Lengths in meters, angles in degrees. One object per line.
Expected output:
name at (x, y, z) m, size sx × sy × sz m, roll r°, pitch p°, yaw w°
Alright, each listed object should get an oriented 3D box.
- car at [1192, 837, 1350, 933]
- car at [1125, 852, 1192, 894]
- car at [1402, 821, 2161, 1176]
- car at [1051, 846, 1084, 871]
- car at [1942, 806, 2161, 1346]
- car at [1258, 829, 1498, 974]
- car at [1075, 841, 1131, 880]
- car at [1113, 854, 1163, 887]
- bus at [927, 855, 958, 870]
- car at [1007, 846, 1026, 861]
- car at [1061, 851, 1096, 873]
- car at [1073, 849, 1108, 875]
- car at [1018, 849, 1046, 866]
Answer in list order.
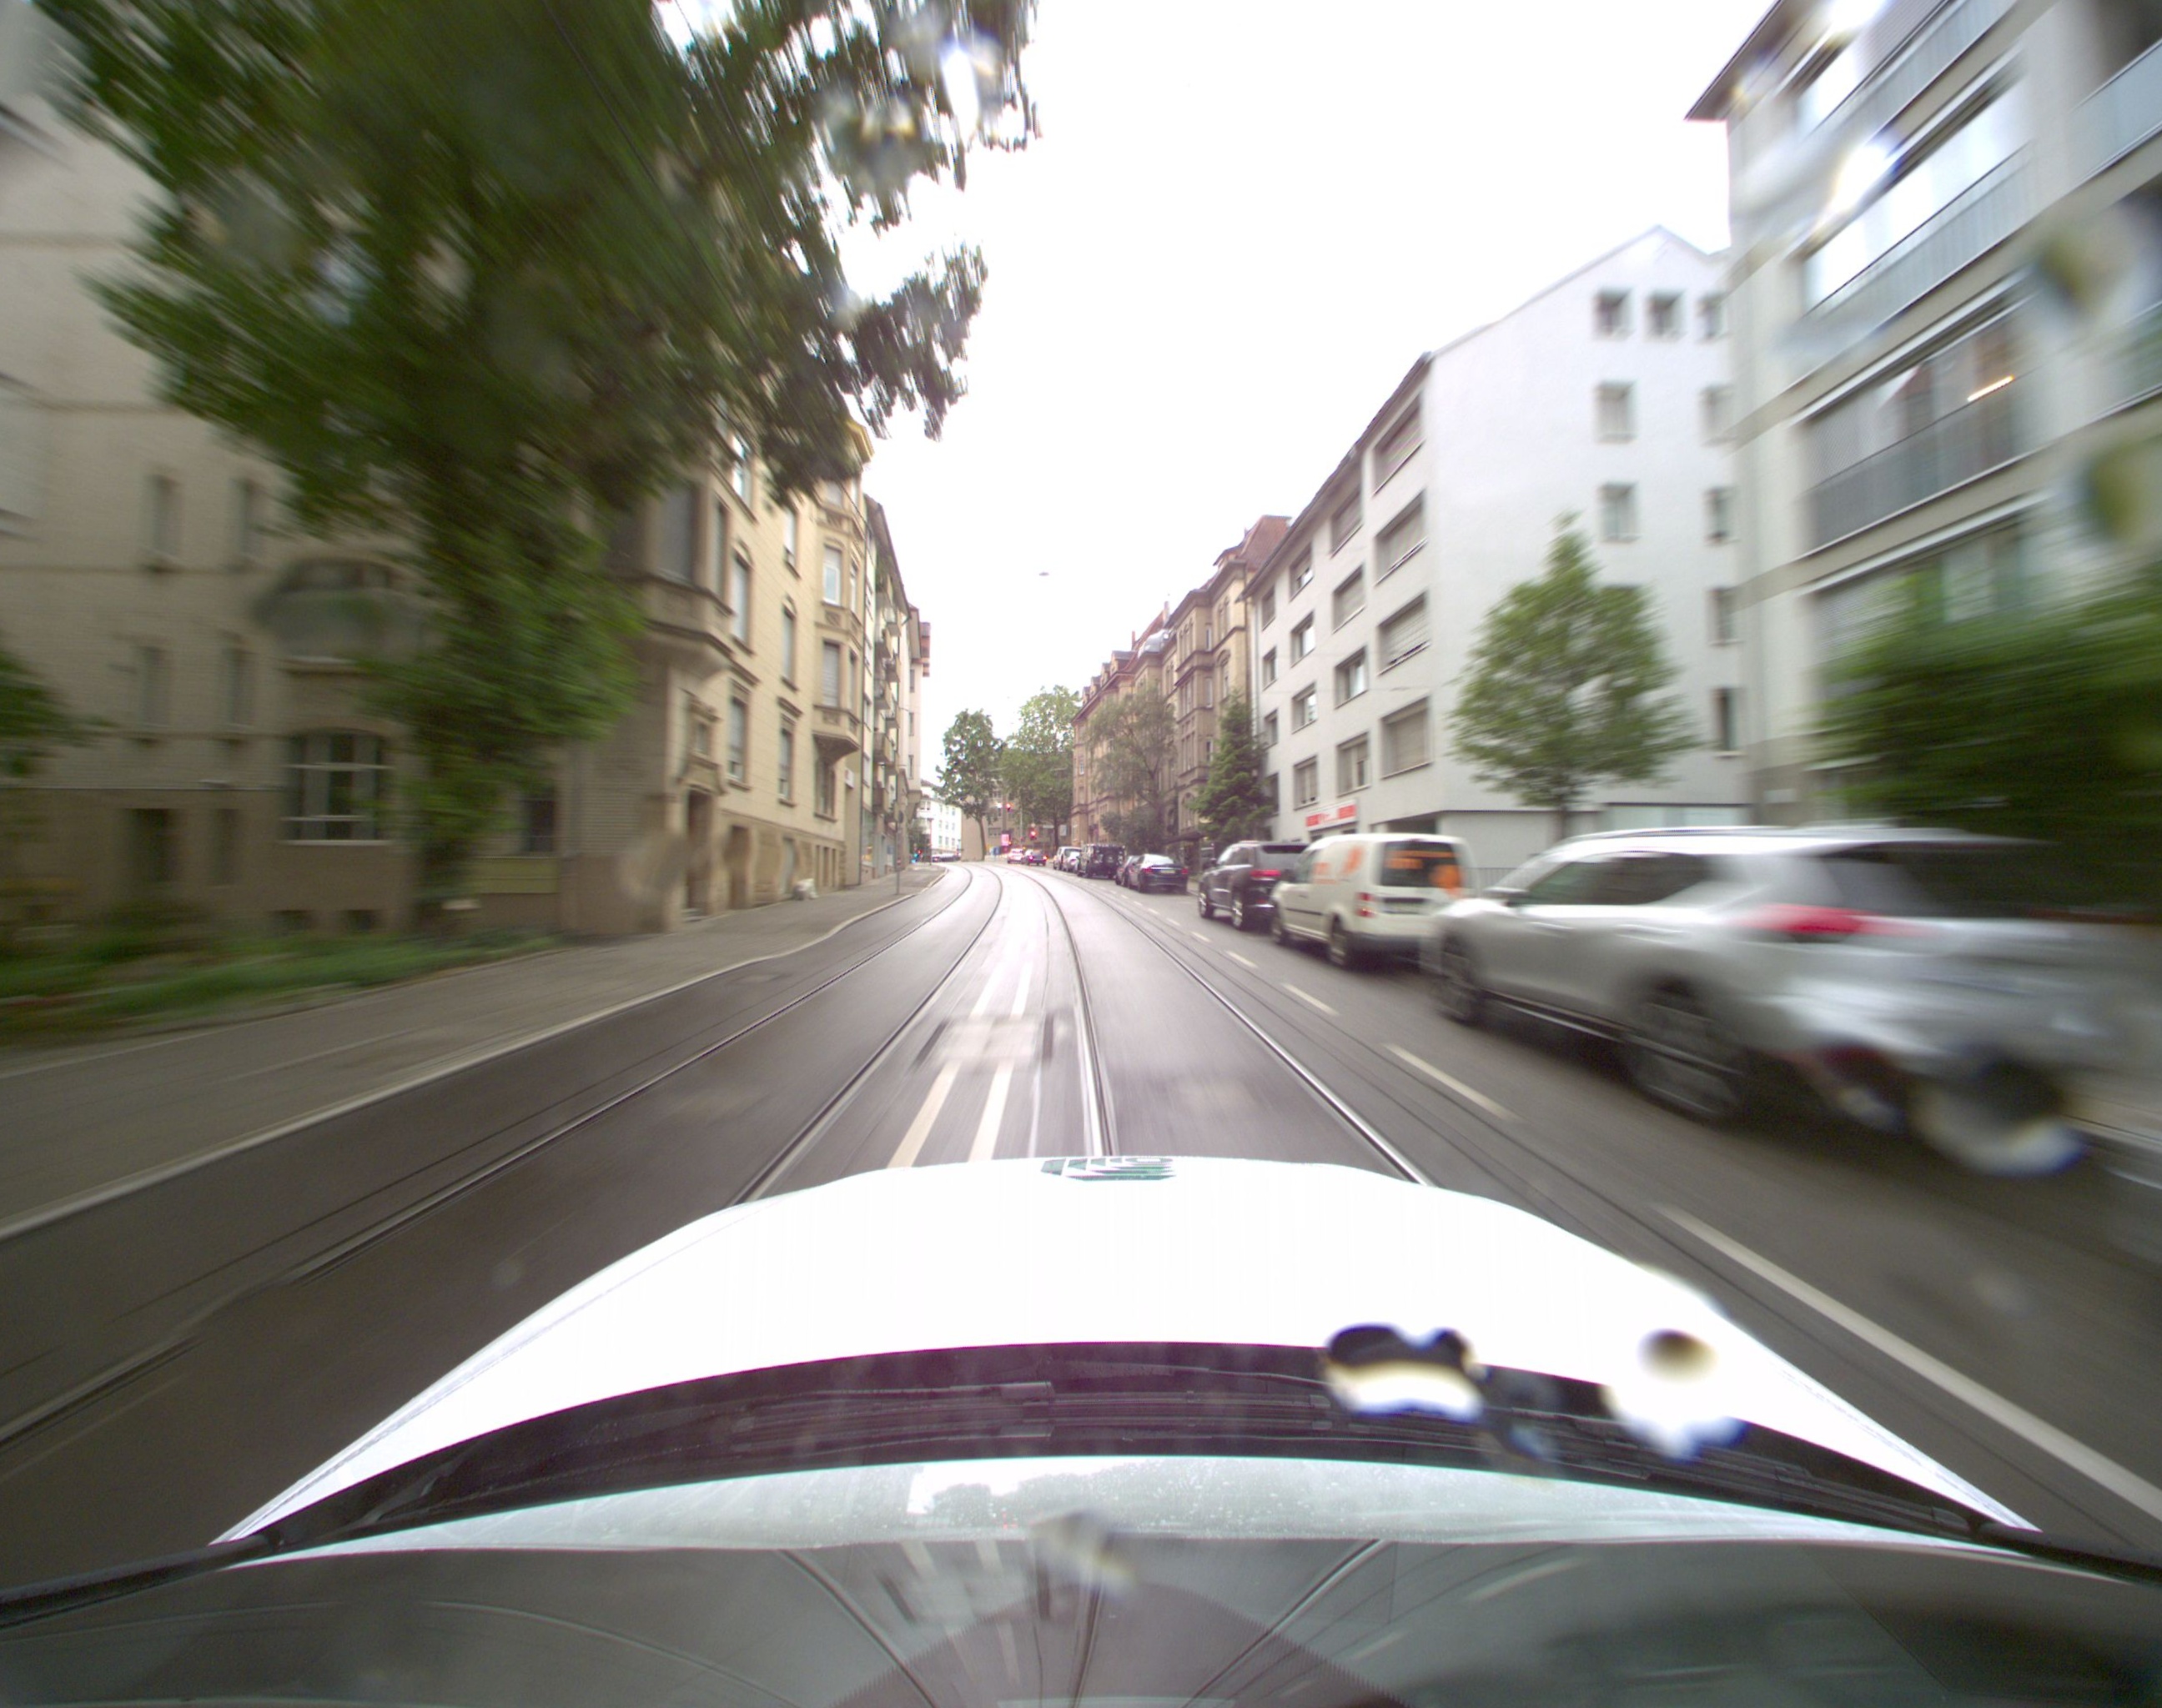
car at (3.889, 0.581, 17.628) m, size 1.939 × 1.795 × 4.812 m, roll 0°, pitch 0°, yaw -5°
car at (2.881, 0.667, 31.266) m, size 1.791 × 1.437 × 4.604 m, roll 0°, pitch 0°, yaw -4°
car at (4.348, 0.681, 6.189) m, size 1.827 × 1.656 × 4.682 m, roll 0°, pitch 0°, yaw -2°
car at (-1.055, 0.300, 61.722) m, size 1.797 × 1.765 × 4.447 m, roll 1°, pitch 0°, yaw -10°
car at (4.276, 0.669, 0.790) m, size 1.828 × 1.628 × 4.657 m, roll 0°, pitch 0°, yaw -4°
car at (4.194, 0.597, 12.374) m, size 1.775 × 1.795 × 4.464 m, roll 0°, pitch 0°, yaw -4°
car at (1.173, 0.308, 45.668) m, size 2.128 × 2.013 × 5.333 m, roll 1°, pitch 0°, yaw -9°
car at (2.436, 0.673, 35.835) m, size 1.675 × 1.338 × 3.877 m, roll 0°, pitch 0°, yaw -4°
bus at (-27.986, 1.659, 164.958) m, size 2.834 × 2.861 × 8.767 m, roll -1°, pitch 1°, yaw 14°
car at (-6.431, -0.023, 81.368) m, size 1.709 × 1.456 × 3.543 m, roll 0°, pitch 1°, yaw -8°
car at (-0.215, 0.534, 56.618) m, size 1.748 × 1.400 × 4.465 m, roll 1°, pitch 0°, yaw -8°
car at (0.545, 0.497, 51.621) m, size 1.560 × 1.546 × 3.572 m, roll 1°, pitch 0°, yaw -10°
car at (-4.582, 0.305, 75.632) m, size 1.714 × 1.415 × 4.013 m, roll 0°, pitch 1°, yaw -17°
